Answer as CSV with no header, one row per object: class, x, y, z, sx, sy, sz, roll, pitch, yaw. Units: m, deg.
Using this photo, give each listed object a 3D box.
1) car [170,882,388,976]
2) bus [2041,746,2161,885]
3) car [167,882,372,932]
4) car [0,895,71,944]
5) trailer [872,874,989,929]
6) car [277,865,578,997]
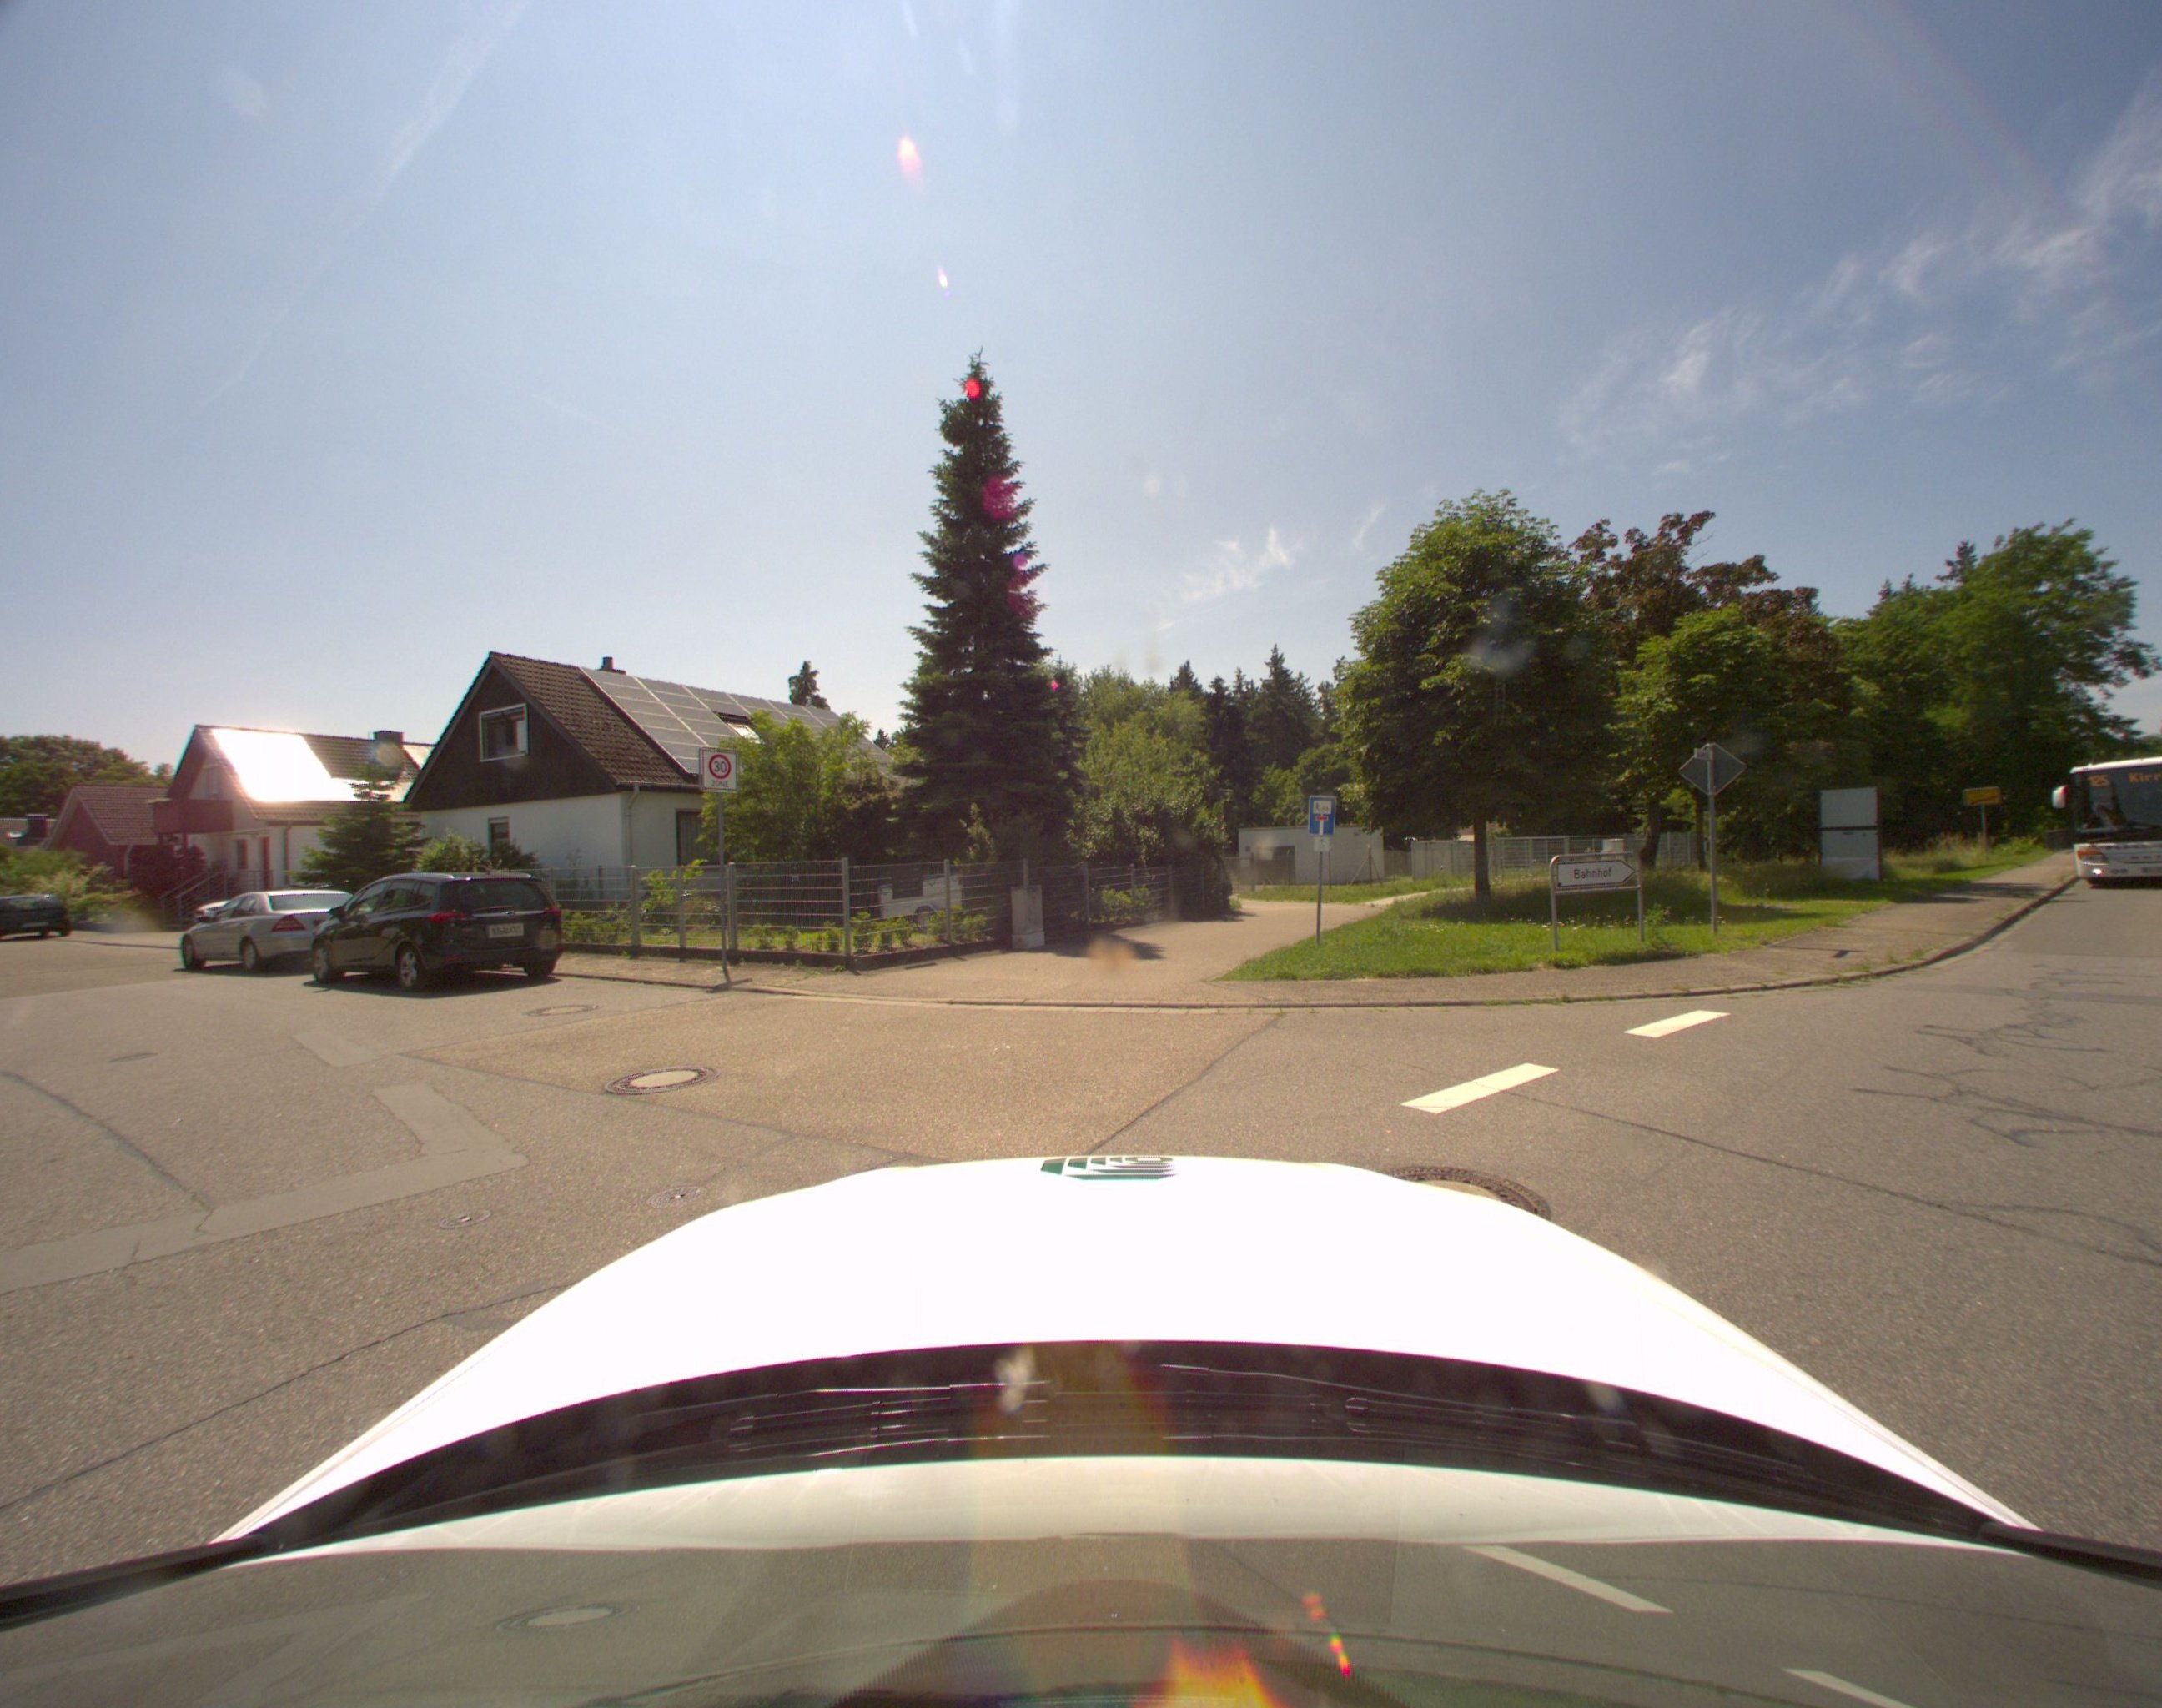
car,-15.015,1.321,15.212,4.281,1.460,1.702,-2,0,29
bus,30.392,-1.049,22.895,12.765,3.244,3.157,-2,0,-35
car,-27.542,1.743,27.823,1.926,1.396,4.581,-2,0,30
car,-35.273,2.143,26.962,3.605,1.440,1.666,-2,0,29
trailer,-3.236,1.004,17.573,2.196,1.084,1.112,-2,0,20
car,-10.177,1.078,12.623,4.622,1.662,1.982,-2,0,29
